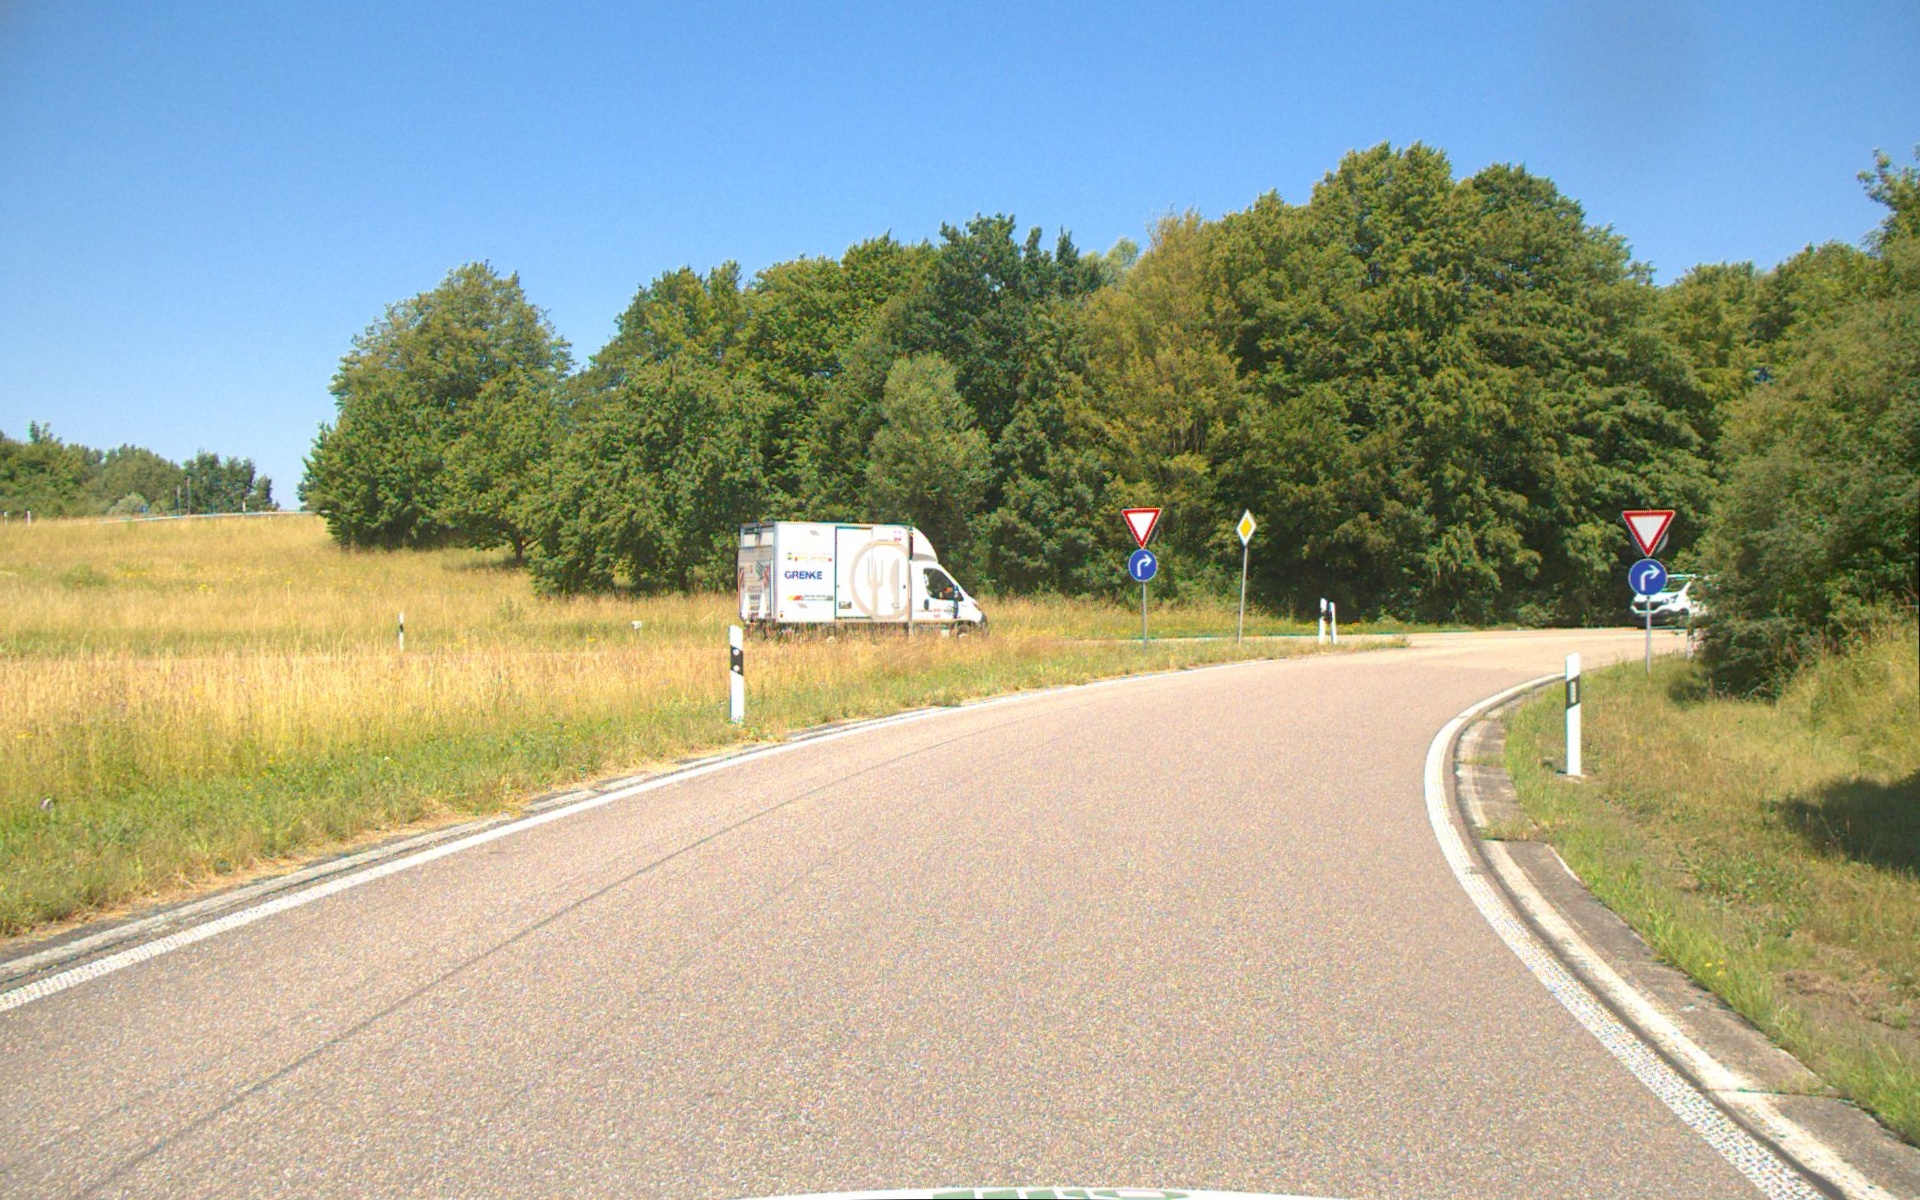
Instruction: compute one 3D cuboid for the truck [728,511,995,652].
[{"bbox_3d":[-2.216,-0.412,38.102,5.816,3.037,2.224,0,0,-32],"label":"truck"}]
